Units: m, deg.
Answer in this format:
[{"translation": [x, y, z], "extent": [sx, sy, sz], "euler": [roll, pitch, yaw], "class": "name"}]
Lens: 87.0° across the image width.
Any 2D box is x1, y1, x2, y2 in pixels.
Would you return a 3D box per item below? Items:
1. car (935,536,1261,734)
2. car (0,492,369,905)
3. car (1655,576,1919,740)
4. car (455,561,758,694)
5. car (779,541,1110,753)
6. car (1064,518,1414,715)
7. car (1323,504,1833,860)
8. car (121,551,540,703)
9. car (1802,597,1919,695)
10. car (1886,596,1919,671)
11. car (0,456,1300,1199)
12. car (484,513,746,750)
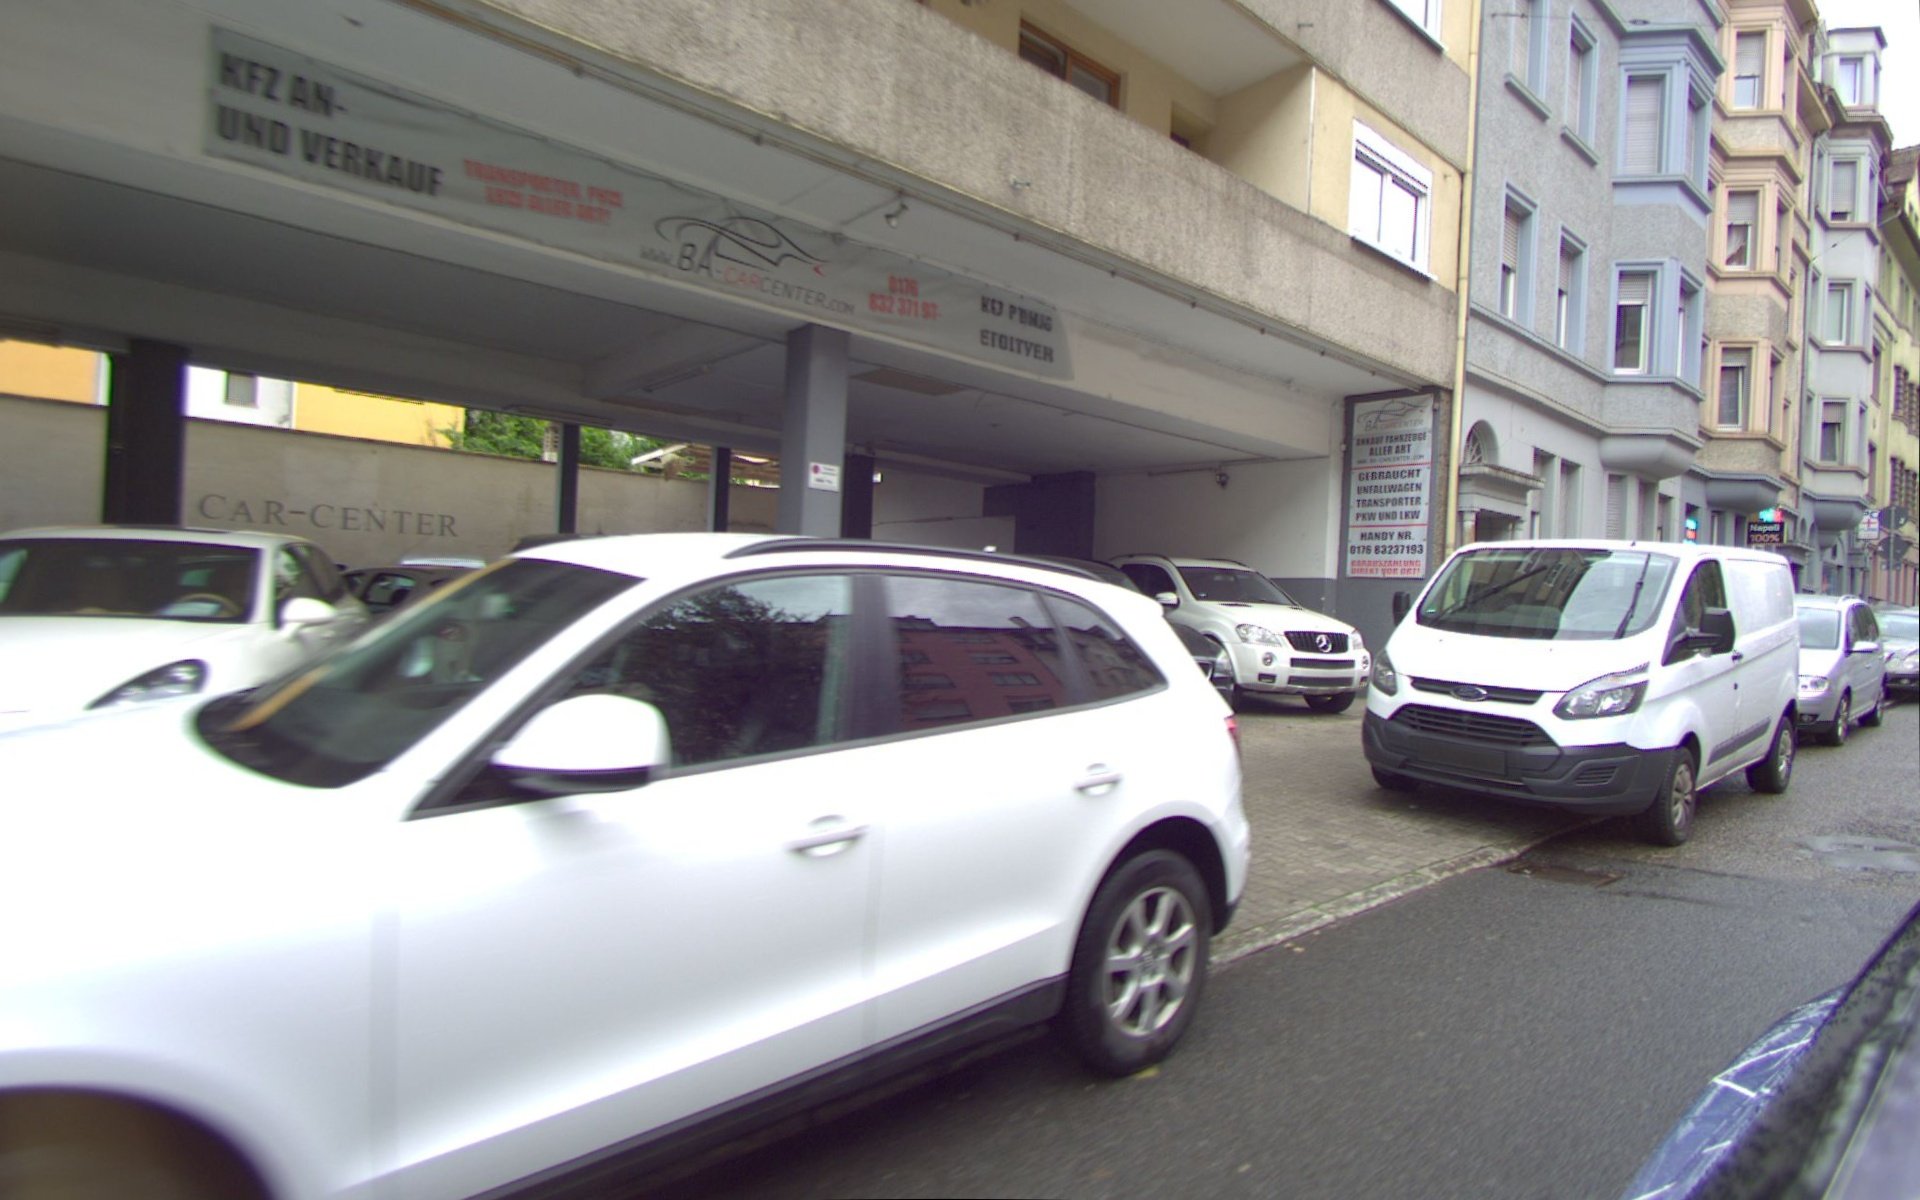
[{"translation": [1.267, 0.295, 11.047], "extent": [1.678, 1.736, 4.008], "euler": [1, 0, -23], "class": "car"}, {"translation": [-4.823, 0.296, 5.840], "extent": [1.774, 1.661, 4.046], "euler": [2, 2, -21], "class": "car"}, {"translation": [10.221, 0.576, 12.370], "extent": [4.235, 1.617, 1.731], "euler": [0, 2, -40], "class": "car"}, {"translation": [-4.446, 0.289, 12.766], "extent": [3.380, 1.450, 1.649], "euler": [2, 0, 23], "class": "car"}, {"translation": [-0.398, 0.279, 9.809], "extent": [1.775, 1.603, 4.009], "euler": [1, 2, -23], "class": "car"}, {"translation": [3.254, 0.137, 12.889], "extent": [1.958, 2.039, 4.474], "euler": [2, 1, -21], "class": "car"}, {"translation": [5.032, 0.415, 7.929], "extent": [4.737, 1.980, 1.994], "euler": [0, 2, -40], "class": "car"}, {"translation": [-6.622, 0.217, 10.815], "extent": [3.603, 1.414, 1.736], "euler": [1, 2, 11], "class": "car"}, {"translation": [16.113, 0.717, 17.433], "extent": [4.281, 1.460, 1.731], "euler": [0, 2, -40], "class": "car"}, {"translation": [20.553, 0.681, 20.809], "extent": [3.863, 1.460, 1.709], "euler": [0, 2, -40], "class": "car"}, {"translation": [-0.948, 0.594, 2.924], "extent": [4.198, 1.660, 1.750], "euler": [0, 2, -41], "class": "car"}, {"translation": [-3.193, 0.152, 9.254], "extent": [1.774, 1.661, 3.967], "euler": [2, 2, -21], "class": "car"}]
